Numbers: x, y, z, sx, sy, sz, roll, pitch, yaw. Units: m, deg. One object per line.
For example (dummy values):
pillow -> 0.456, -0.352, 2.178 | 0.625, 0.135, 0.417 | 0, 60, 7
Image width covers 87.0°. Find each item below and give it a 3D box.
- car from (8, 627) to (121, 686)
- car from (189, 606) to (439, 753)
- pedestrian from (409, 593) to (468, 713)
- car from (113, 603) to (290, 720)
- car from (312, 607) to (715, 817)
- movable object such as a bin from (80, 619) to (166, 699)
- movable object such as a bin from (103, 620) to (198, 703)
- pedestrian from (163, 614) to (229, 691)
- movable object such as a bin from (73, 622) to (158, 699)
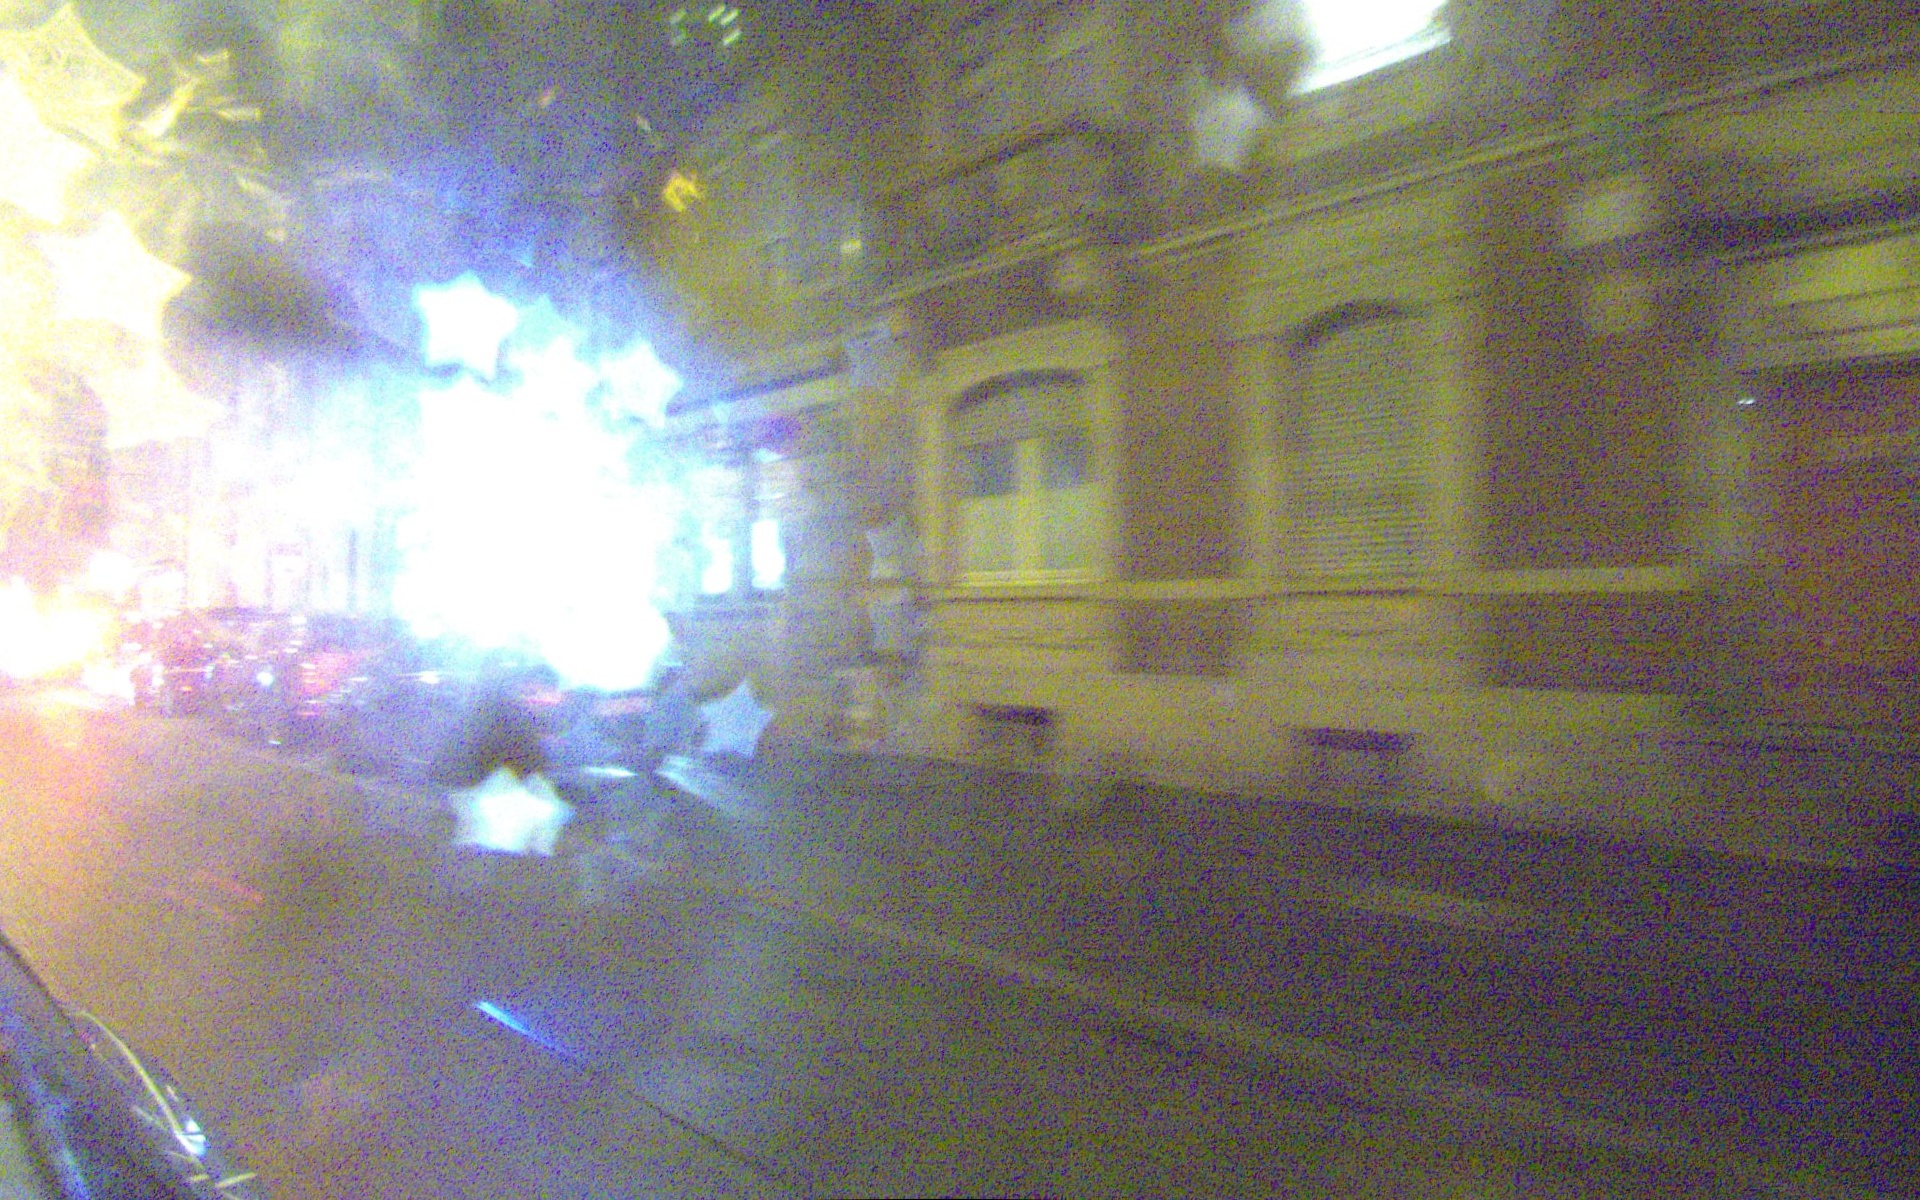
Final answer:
car -> -23.012, 1.397, 25.968 | 4.220, 1.369, 1.637 | -1, -2, 41
car -> -8.264, 0.907, 12.802 | 4.023, 1.564, 1.587 | -2, -1, 41
pedestrian -> -8.016, 0.798, 15.550 | 0.549, 1.794, 0.632 | -2, -2, 41
car -> -12.590, 0.936, 16.725 | 3.719, 1.719, 1.587 | -1, -1, 41
car -> -4.218, 0.847, 9.205 | 4.313, 1.466, 1.669 | -2, -1, 41
movable object such as a bin -> -16.453, 1.135, 19.891 | 1.107, 1.470, 1.152 | -1, 0, 43
movable object such as a bin -> -15.420, 1.142, 19.272 | 1.151, 1.470, 1.248 | -1, 0, 43
pedestrian -> -18.466, 1.242, 24.466 | 0.787, 1.796, 1.120 | -2, -2, 41
movable object such as a bin -> -17.287, 1.208, 20.721 | 1.107, 1.470, 1.195 | -1, 0, 43
